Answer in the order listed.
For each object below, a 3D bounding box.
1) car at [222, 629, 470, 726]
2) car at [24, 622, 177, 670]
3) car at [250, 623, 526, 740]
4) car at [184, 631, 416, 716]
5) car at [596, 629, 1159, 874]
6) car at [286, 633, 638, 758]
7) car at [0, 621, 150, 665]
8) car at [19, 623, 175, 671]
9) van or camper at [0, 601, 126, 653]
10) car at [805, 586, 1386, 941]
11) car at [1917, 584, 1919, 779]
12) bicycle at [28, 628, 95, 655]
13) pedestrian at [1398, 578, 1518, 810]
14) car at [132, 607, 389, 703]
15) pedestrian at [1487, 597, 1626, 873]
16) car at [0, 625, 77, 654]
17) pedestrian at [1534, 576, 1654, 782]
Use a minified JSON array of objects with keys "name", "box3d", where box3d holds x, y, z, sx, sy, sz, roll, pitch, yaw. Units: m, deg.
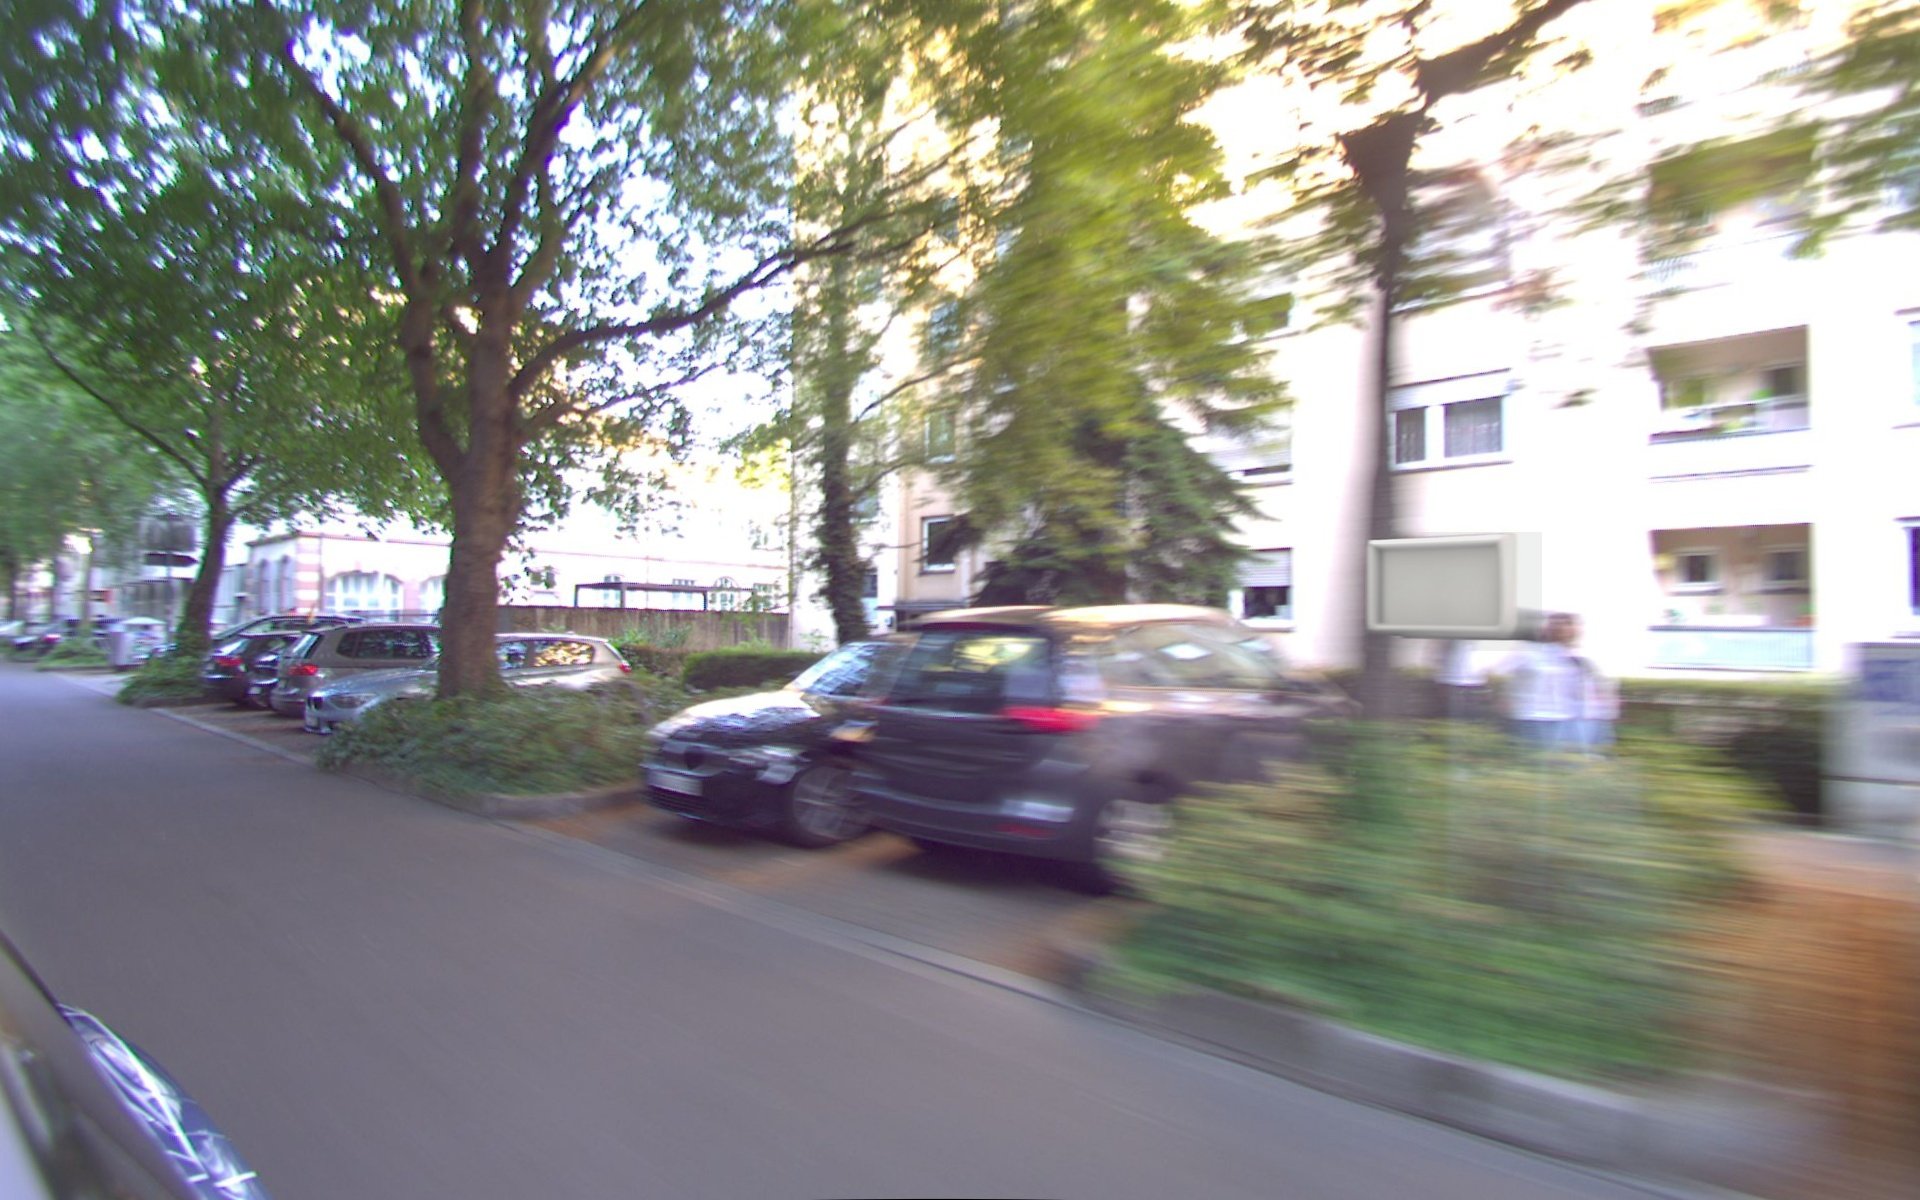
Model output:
[{"name":"car","box3d":[-10.685,1.278,17.773,1.663,1.518,3.370,-1,-2,40]},{"name":"car","box3d":[-30.424,1.590,35.898,1.788,1.604,3.944,-2,-2,42]},{"name":"car","box3d":[-8.864,1.179,15.862,1.760,1.621,3.370,-1,-2,40]},{"name":"car","box3d":[-12.425,1.327,19.192,1.593,1.453,3.370,-1,-2,40]},{"name":"car","box3d":[-0.391,0.980,8.564,2.070,1.435,4.667,-1,-2,40]},{"name":"car","box3d":[-6.765,1.198,14.086,1.746,1.390,4.058,-1,-1,40]},{"name":"car","box3d":[-36.236,1.751,41.439,1.620,1.695,4.490,-1,-3,39]},{"name":"car","box3d":[-30.485,1.619,35.821,1.827,1.600,3.946,-2,-2,40]},{"name":"van or camper","box3d":[-44.713,1.385,50.300,1.945,2.446,4.765,-2,-3,42]},{"name":"car","box3d":[1.243,0.794,7.184,2.063,1.697,4.351,-2,-1,40]},{"name":"car","box3d":[4.555,0.719,3.276,2.055,1.593,4.449,-1,0,43]},{"name":"bicycle","box3d":[-35.108,1.628,39.548,0.479,1.033,1.881,-2,-3,41]},{"name":"pedestrian","box3d":[4.125,0.745,8.384,0.688,1.802,0.666,2,-3,-43]},{"name":"car","box3d":[-15.461,1.143,22.543,1.999,1.906,4.371,-2,-2,42]},{"name":"pedestrian","box3d":[4.091,0.889,6.985,0.522,1.802,0.698,0,-2,2]},{"name":"car","box3d":[-51.047,2.172,55.380,4.006,1.539,1.623,1,-2,-44]},{"name":"pedestrian","box3d":[5.046,0.617,8.076,0.652,1.584,0.448,0,-2,2]}]
